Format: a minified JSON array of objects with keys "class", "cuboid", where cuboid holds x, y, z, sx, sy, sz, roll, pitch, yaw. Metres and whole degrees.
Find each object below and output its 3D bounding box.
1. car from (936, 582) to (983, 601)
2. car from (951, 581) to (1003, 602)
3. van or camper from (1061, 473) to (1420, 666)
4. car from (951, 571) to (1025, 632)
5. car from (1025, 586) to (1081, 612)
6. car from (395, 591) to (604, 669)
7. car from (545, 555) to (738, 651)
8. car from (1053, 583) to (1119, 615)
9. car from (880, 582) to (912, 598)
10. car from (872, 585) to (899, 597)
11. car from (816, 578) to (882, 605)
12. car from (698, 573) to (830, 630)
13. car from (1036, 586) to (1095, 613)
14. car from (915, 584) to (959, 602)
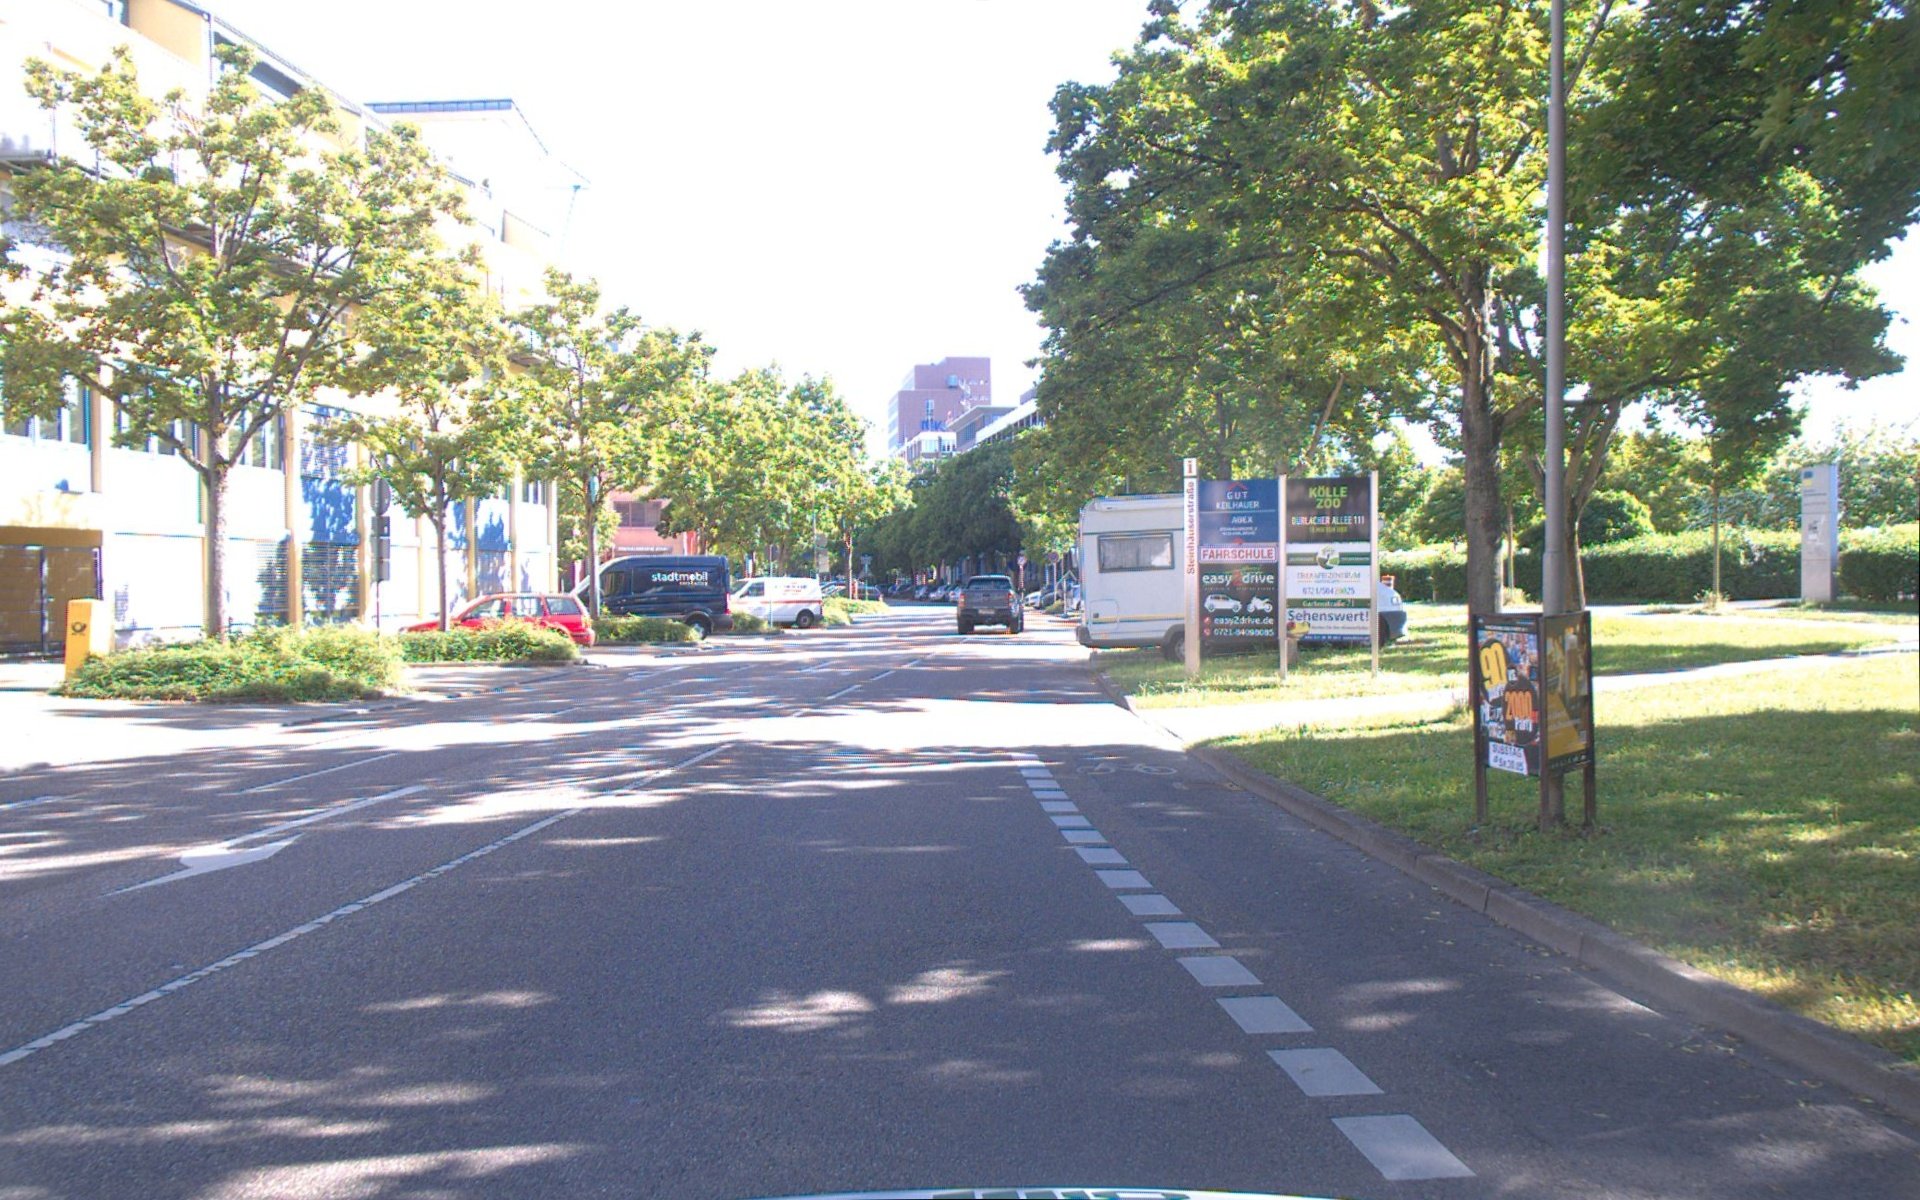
[{"class":"car","cuboid":[-0.058,-0.748,142.401,3.871,1.421,1.515,-3,0,-6]},{"class":"car","cuboid":[1.301,-0.659,127.349,3.871,1.421,1.515,-3,0,-6]},{"class":"van or camper","cuboid":[4.889,-0.534,29.689,5.953,2.979,2.576,-3,0,3]},{"class":"car","cuboid":[0.964,0.015,54.014,2.088,1.867,4.944,-1,1,5]},{"class":"car","cuboid":[5.464,-0.071,97.170,3.177,1.299,1.517,-3,0,2]},{"class":"car","cuboid":[-10.305,0.642,36.980,4.345,1.579,1.909,-1,0,-22]},{"class":"car","cuboid":[-9.176,0.048,47.692,5.187,2.590,1.972,-1,0,-22]},{"class":"car","cuboid":[6.219,-0.054,81.869,3.177,1.421,1.517,-3,0,2]},{"class":"car","cuboid":[-6.742,-1.030,173.084,3.216,1.421,1.515,-3,0,-6]},{"class":"car","cuboid":[-8.850,-1.043,196.012,3.152,1.249,1.261,-3,0,-6]},{"class":"car","cuboid":[-6.587,-0.486,97.920,3.808,1.389,1.408,-3,0,-6]},{"class":"car","cuboid":[-7.798,0.028,65.837,4.836,2.119,1.964,-2,0,-32]},{"class":"car","cuboid":[5.915,-0.027,92.945,3.177,1.299,1.517,-3,0,2]},{"class":"car","cuboid":[-2.137,-0.650,151.255,3.871,1.421,1.515,-3,0,-6]}]
